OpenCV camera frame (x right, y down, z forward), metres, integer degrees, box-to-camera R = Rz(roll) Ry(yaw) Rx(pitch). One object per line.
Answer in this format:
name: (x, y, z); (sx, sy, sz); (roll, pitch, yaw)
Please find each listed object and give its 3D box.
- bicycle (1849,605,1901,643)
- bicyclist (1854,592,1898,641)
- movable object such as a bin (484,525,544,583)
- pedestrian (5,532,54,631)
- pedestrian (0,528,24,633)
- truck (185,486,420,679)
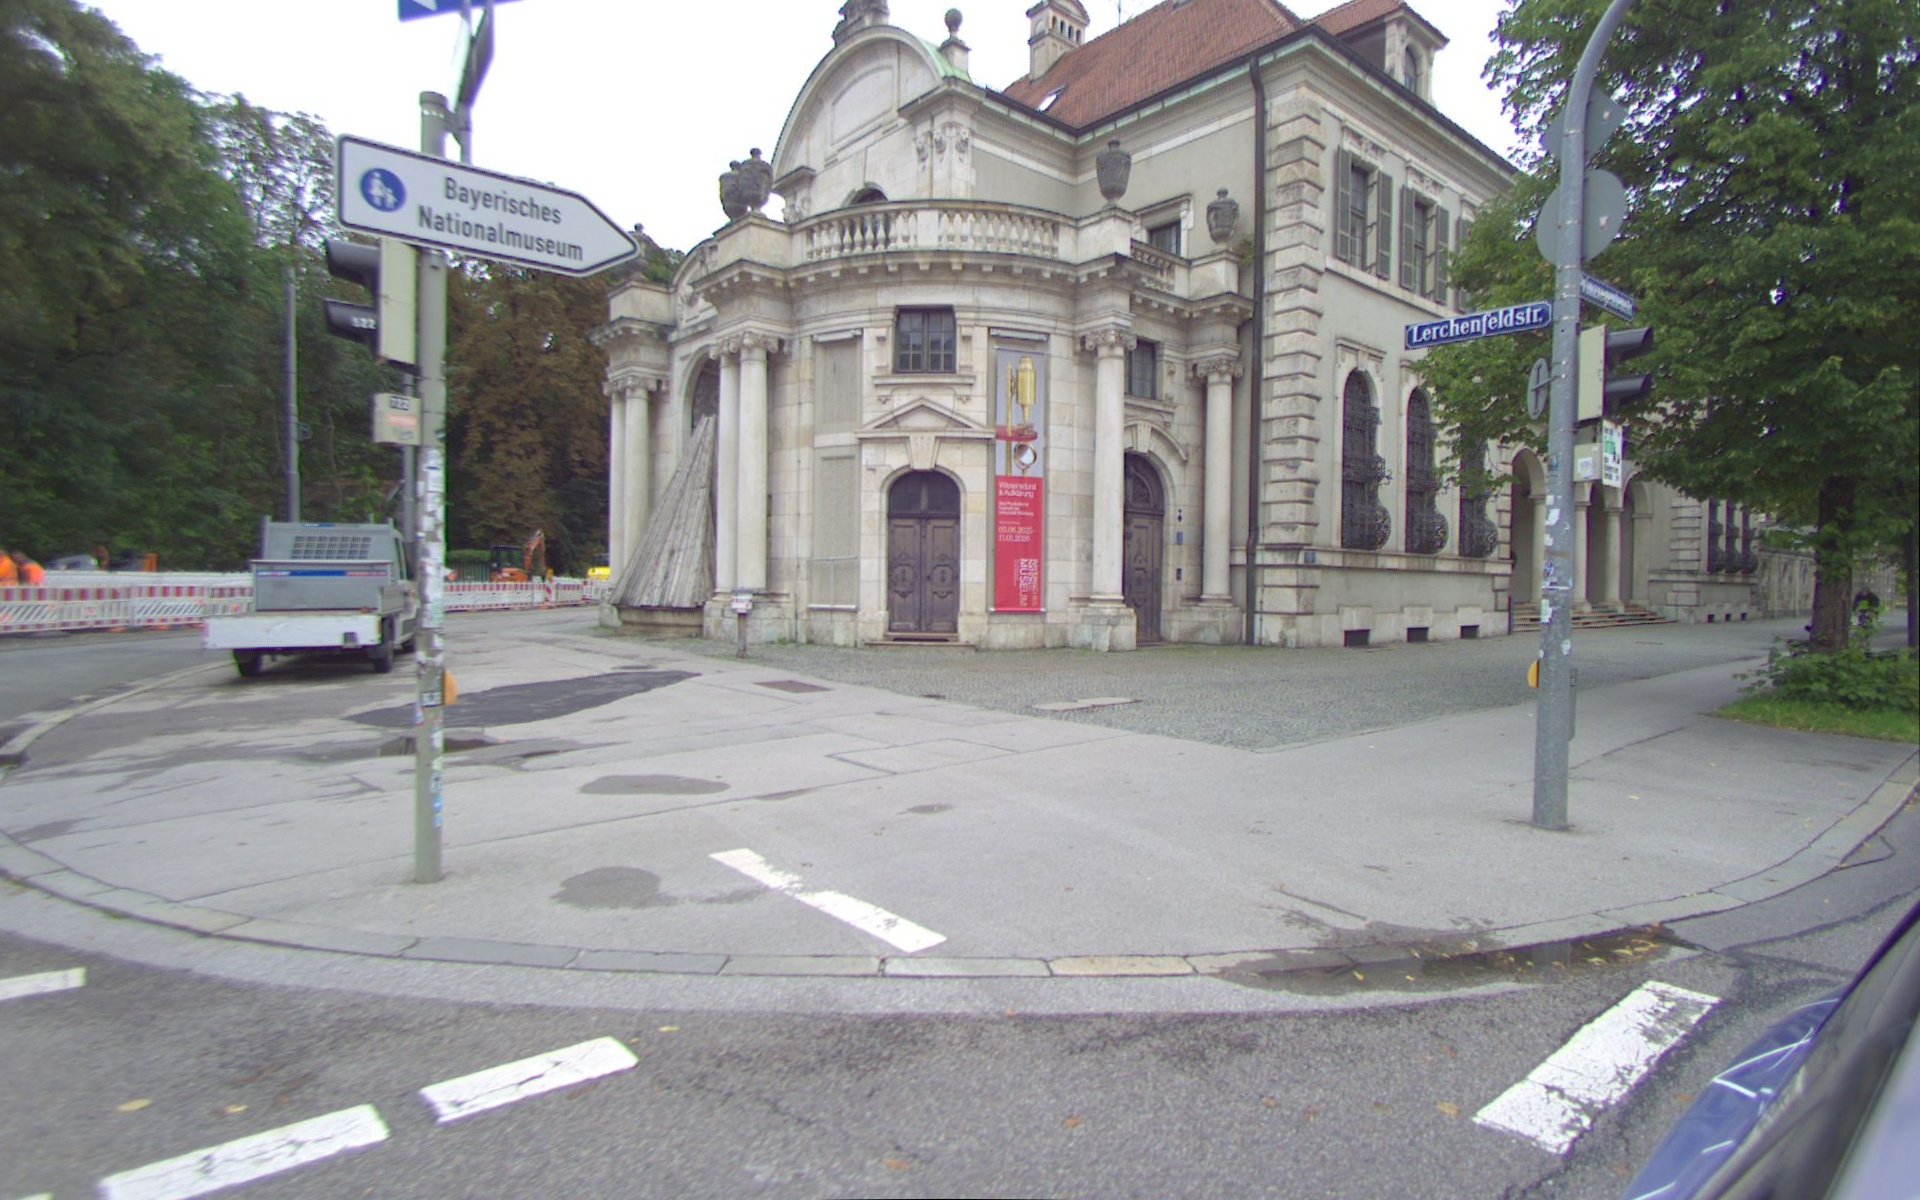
bicycle: (25.645, 0.661, 28.347); (2.022, 1.019, 0.829); (0, 0, -41)
bicyclist: (25.670, 0.448, 28.367); (0.878, 1.330, 0.807); (0, -1, -41)
movable object such as a bin: (-19.503, -1.964, 44.391); (1.294, 2.342, 3.777); (0, 0, -6)
pedestrian: (-20.300, -0.398, 22.086); (0.551, 2.136, 0.690); (0, -1, -19)
pedestrian: (-19.898, -0.397, 20.927); (0.551, 2.136, 0.690); (0, -1, -21)
truck: (-10.301, -0.238, 16.420); (2.247, 2.526, 5.947); (0, 0, -24)
